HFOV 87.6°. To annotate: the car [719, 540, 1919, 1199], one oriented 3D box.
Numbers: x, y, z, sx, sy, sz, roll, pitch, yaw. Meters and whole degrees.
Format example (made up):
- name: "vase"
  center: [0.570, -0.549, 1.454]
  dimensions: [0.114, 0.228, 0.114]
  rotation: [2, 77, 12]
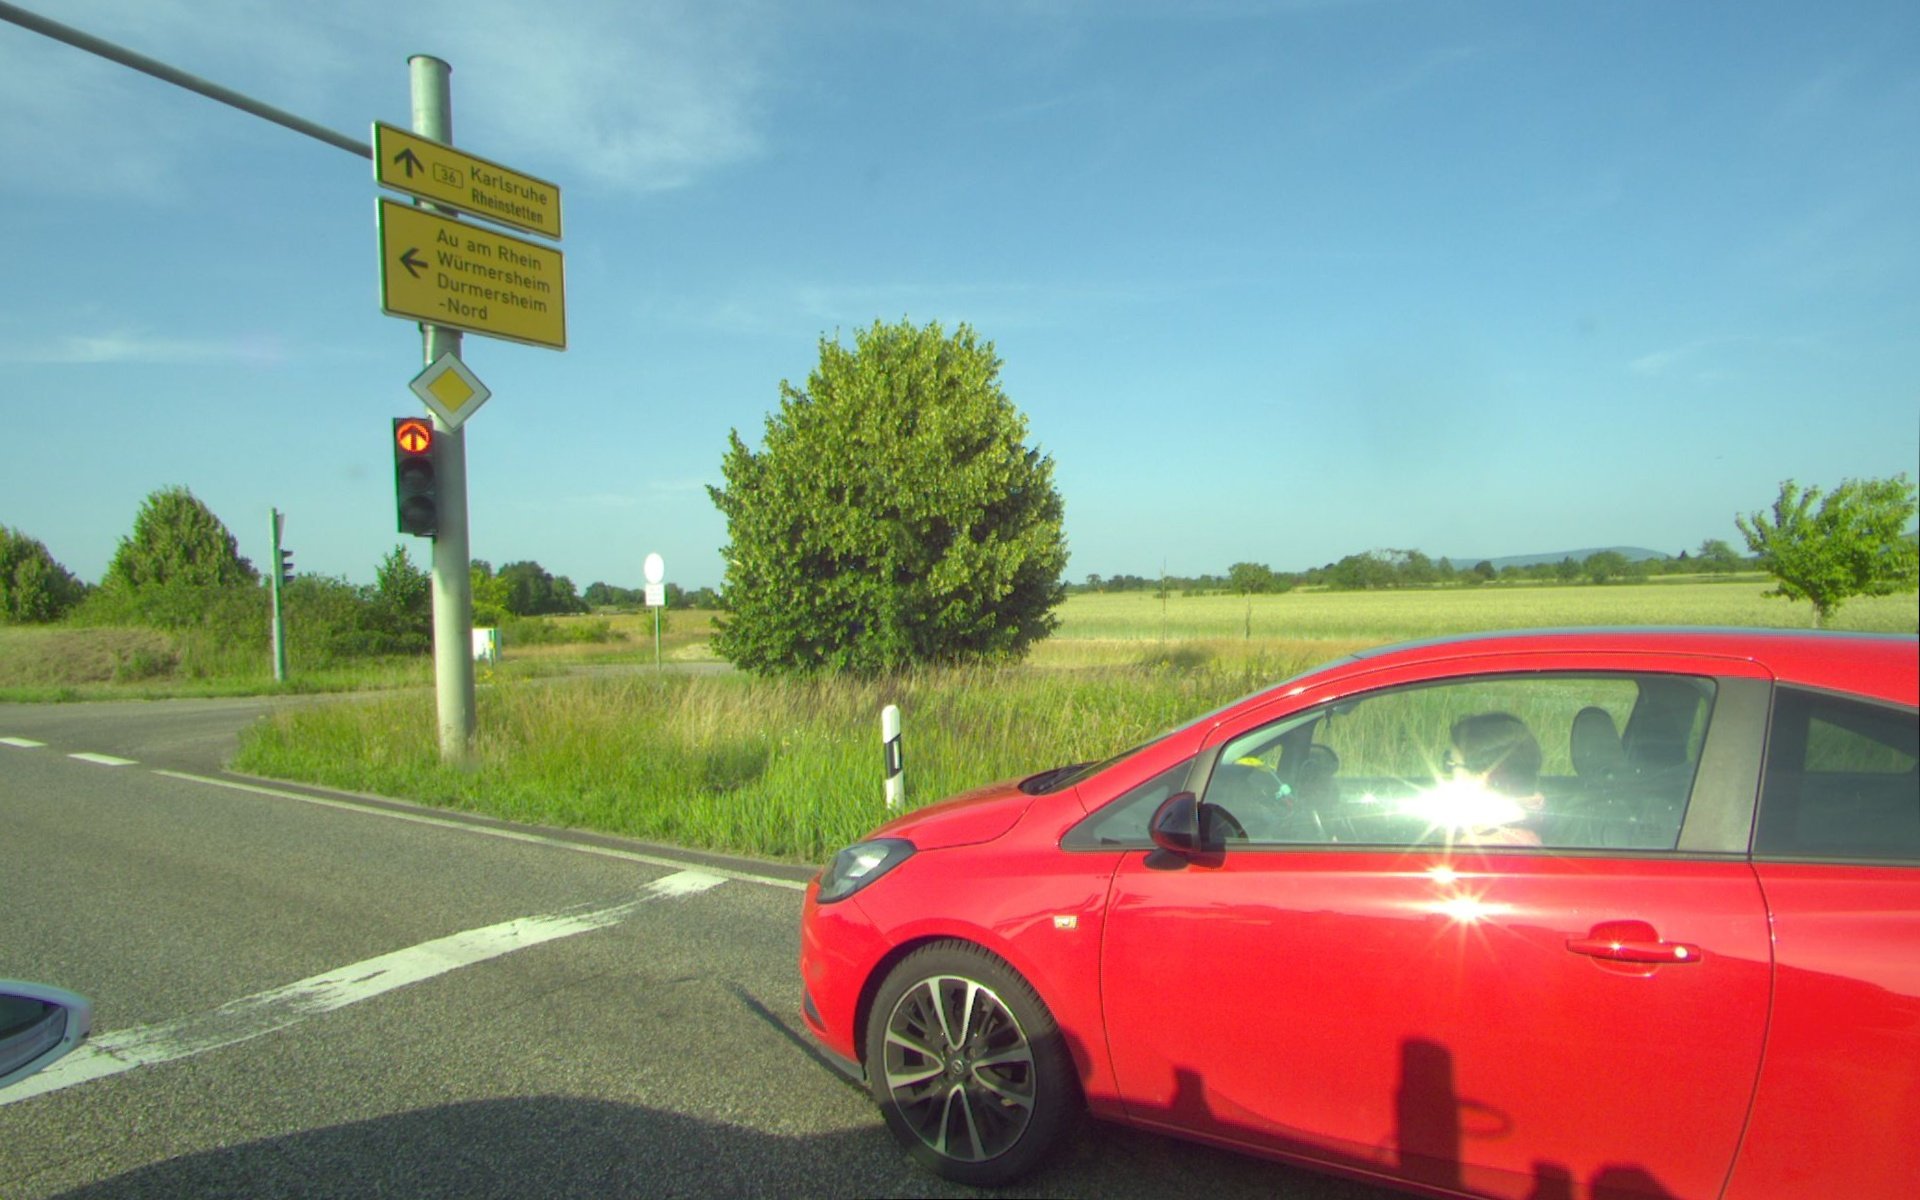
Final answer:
- name: "car"
  center: [1.304, 0.700, 2.834]
  dimensions: [3.693, 1.569, 1.695]
  rotation: [-1, 0, 29]
